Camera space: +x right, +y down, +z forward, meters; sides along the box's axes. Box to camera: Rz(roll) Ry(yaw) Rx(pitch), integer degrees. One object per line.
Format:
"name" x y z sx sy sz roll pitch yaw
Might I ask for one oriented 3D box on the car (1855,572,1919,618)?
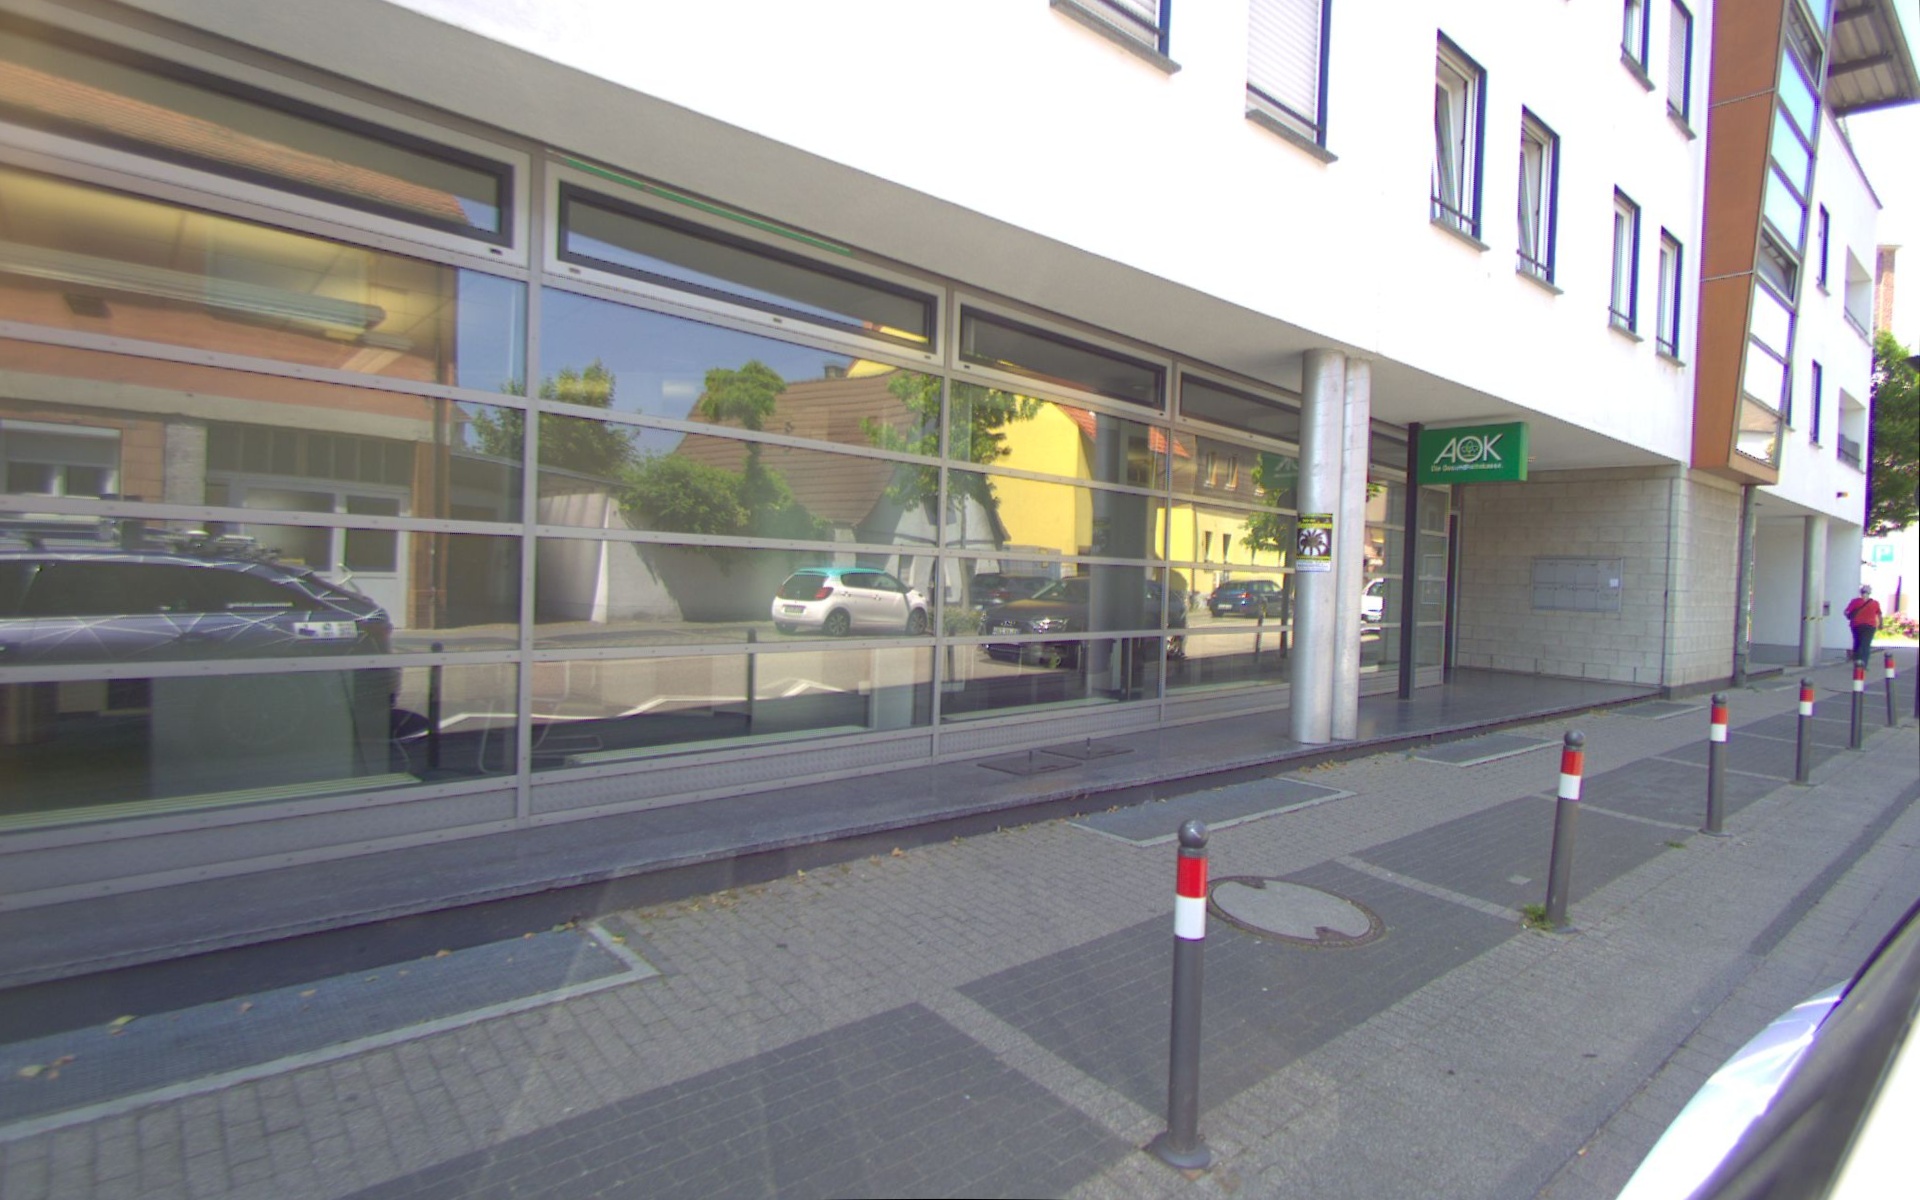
"car" 41.671 -0.174 43.716 1.965 1.882 4.202 0 3 -41

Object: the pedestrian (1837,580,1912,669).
"pedestrian" 17.509 0.449 19.377 0.903 1.607 0.826 0 5 -40
